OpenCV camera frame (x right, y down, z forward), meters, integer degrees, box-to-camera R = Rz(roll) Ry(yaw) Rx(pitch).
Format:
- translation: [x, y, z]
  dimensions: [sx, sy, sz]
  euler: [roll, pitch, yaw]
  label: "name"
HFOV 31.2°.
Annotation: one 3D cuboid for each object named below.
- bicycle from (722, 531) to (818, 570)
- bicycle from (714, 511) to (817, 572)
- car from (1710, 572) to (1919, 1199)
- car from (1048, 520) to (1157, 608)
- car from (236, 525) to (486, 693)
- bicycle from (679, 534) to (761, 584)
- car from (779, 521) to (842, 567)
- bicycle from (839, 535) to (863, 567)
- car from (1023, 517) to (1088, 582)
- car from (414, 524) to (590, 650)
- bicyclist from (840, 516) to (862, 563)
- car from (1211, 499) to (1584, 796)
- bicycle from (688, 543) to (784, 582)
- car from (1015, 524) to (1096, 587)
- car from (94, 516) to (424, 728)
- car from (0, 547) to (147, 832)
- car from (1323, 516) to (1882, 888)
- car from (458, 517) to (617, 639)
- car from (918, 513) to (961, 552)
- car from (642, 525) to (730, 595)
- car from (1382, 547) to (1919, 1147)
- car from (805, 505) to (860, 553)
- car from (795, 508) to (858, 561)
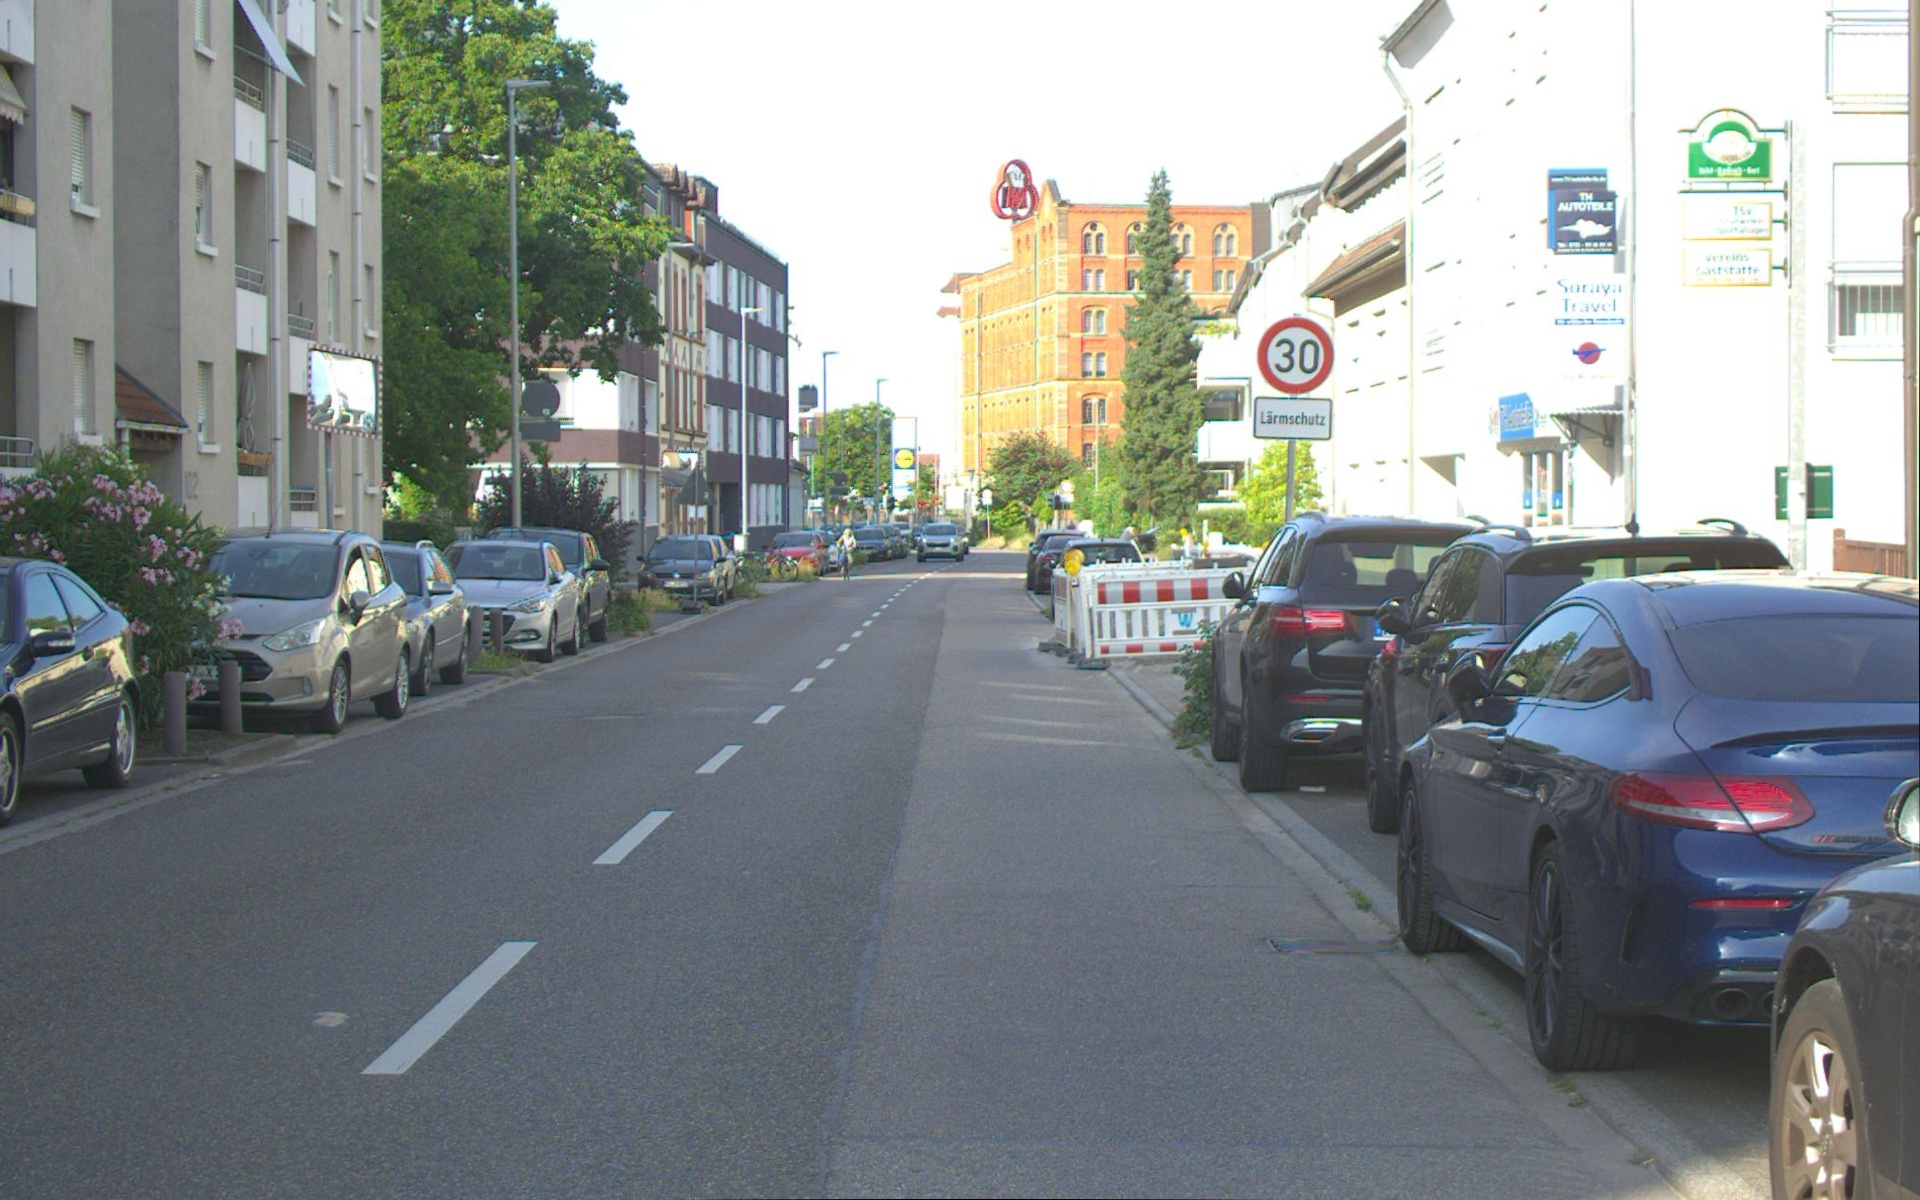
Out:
- translation: [-5.684, -1.475, 102.793]
  dimensions: [2.773, 1.140, 1.143]
  euler: [0, 1, 1]
  label: "bicycle"
- translation: [-5.697, -1.713, 101.016]
  dimensions: [2.918, 1.771, 1.202]
  euler: [0, 1, 1]
  label: "bicycle"
- translation: [2.524, 0.708, 5.089]
  dimensions: [1.779, 1.415, 4.497]
  euler: [0, 2, -1]
  label: "car"
- translation: [2.498, -0.664, 61.113]
  dimensions: [1.830, 1.477, 3.943]
  euler: [-1, 1, 1]
  label: "car"
- translation: [-5.863, 0.038, 34.101]
  dimensions: [1.807, 1.516, 4.371]
  euler: [1, 1, -1]
  label: "car"
- translation: [-5.884, -0.998, 84.209]
  dimensions: [2.000, 1.213, 0.708]
  euler: [0, 1, -5]
  label: "bicycle"
- translation: [-4.806, -1.823, 110.712]
  dimensions: [1.840, 1.459, 3.585]
  euler: [0, 1, 1]
  label: "car"
- translation: [-3.339, -1.499, 105.430]
  dimensions: [0.608, 0.939, 1.811]
  euler: [-1, 1, 2]
  label: "bicycle"
- translation: [2.503, -1.352, 90.694]
  dimensions: [1.601, 1.640, 3.685]
  euler: [1, 1, 0]
  label: "car"
- translation: [-5.631, -0.199, 42.640]
  dimensions: [1.686, 1.449, 4.141]
  euler: [1, 1, -1]
  label: "car"
- translation: [-3.347, -1.859, 105.423]
  dimensions: [0.591, 1.437, 0.750]
  euler: [-1, 1, 2]
  label: "bicyclist"
- translation: [2.606, 0.211, 21.425]
  dimensions: [1.830, 1.624, 4.463]
  euler: [-1, 1, 1]
  label: "car"
- translation: [-5.545, -0.933, 85.066]
  dimensions: [2.339, 0.967, 0.708]
  euler: [0, 1, -5]
  label: "bicycle"
- translation: [2.344, -1.118, 85.397]
  dimensions: [1.859, 1.467, 4.000]
  euler: [2, 1, 0]
  label: "car"
- translation: [-5.539, 0.116, 27.621]
  dimensions: [1.727, 1.550, 3.965]
  euler: [1, 1, 2]
  label: "car"
- translation: [-5.780, 0.432, 19.052]
  dimensions: [1.686, 1.401, 4.084]
  euler: [1, 1, -2]
  label: "car"
- translation: [2.946, 0.381, 16.698]
  dimensions: [1.830, 1.554, 4.318]
  euler: [-1, 1, -1]
  label: "car"
- translation: [-5.816, -0.338, 47.739]
  dimensions: [1.686, 1.597, 4.370]
  euler: [1, 1, 0]
  label: "car"
- translation: [-0.860, -2.889, 146.161]
  dimensions: [1.763, 1.610, 4.000]
  euler: [-1, 1, 0]
  label: "car"
- translation: [-5.741, -0.863, 72.322]
  dimensions: [1.573, 1.415, 3.804]
  euler: [1, 1, 0]
  label: "car"
- translation: [2.502, 0.570, 10.694]
  dimensions: [1.830, 1.415, 4.609]
  euler: [0, 2, 0]
  label: "car"
- translation: [-5.076, -2.849, 136.881]
  dimensions: [1.993, 1.875, 4.000]
  euler: [0, 1, 1]
  label: "car"
- translation: [-4.709, -2.322, 121.487]
  dimensions: [1.993, 1.829, 3.689]
  euler: [0, 1, 1]
  label: "car"
